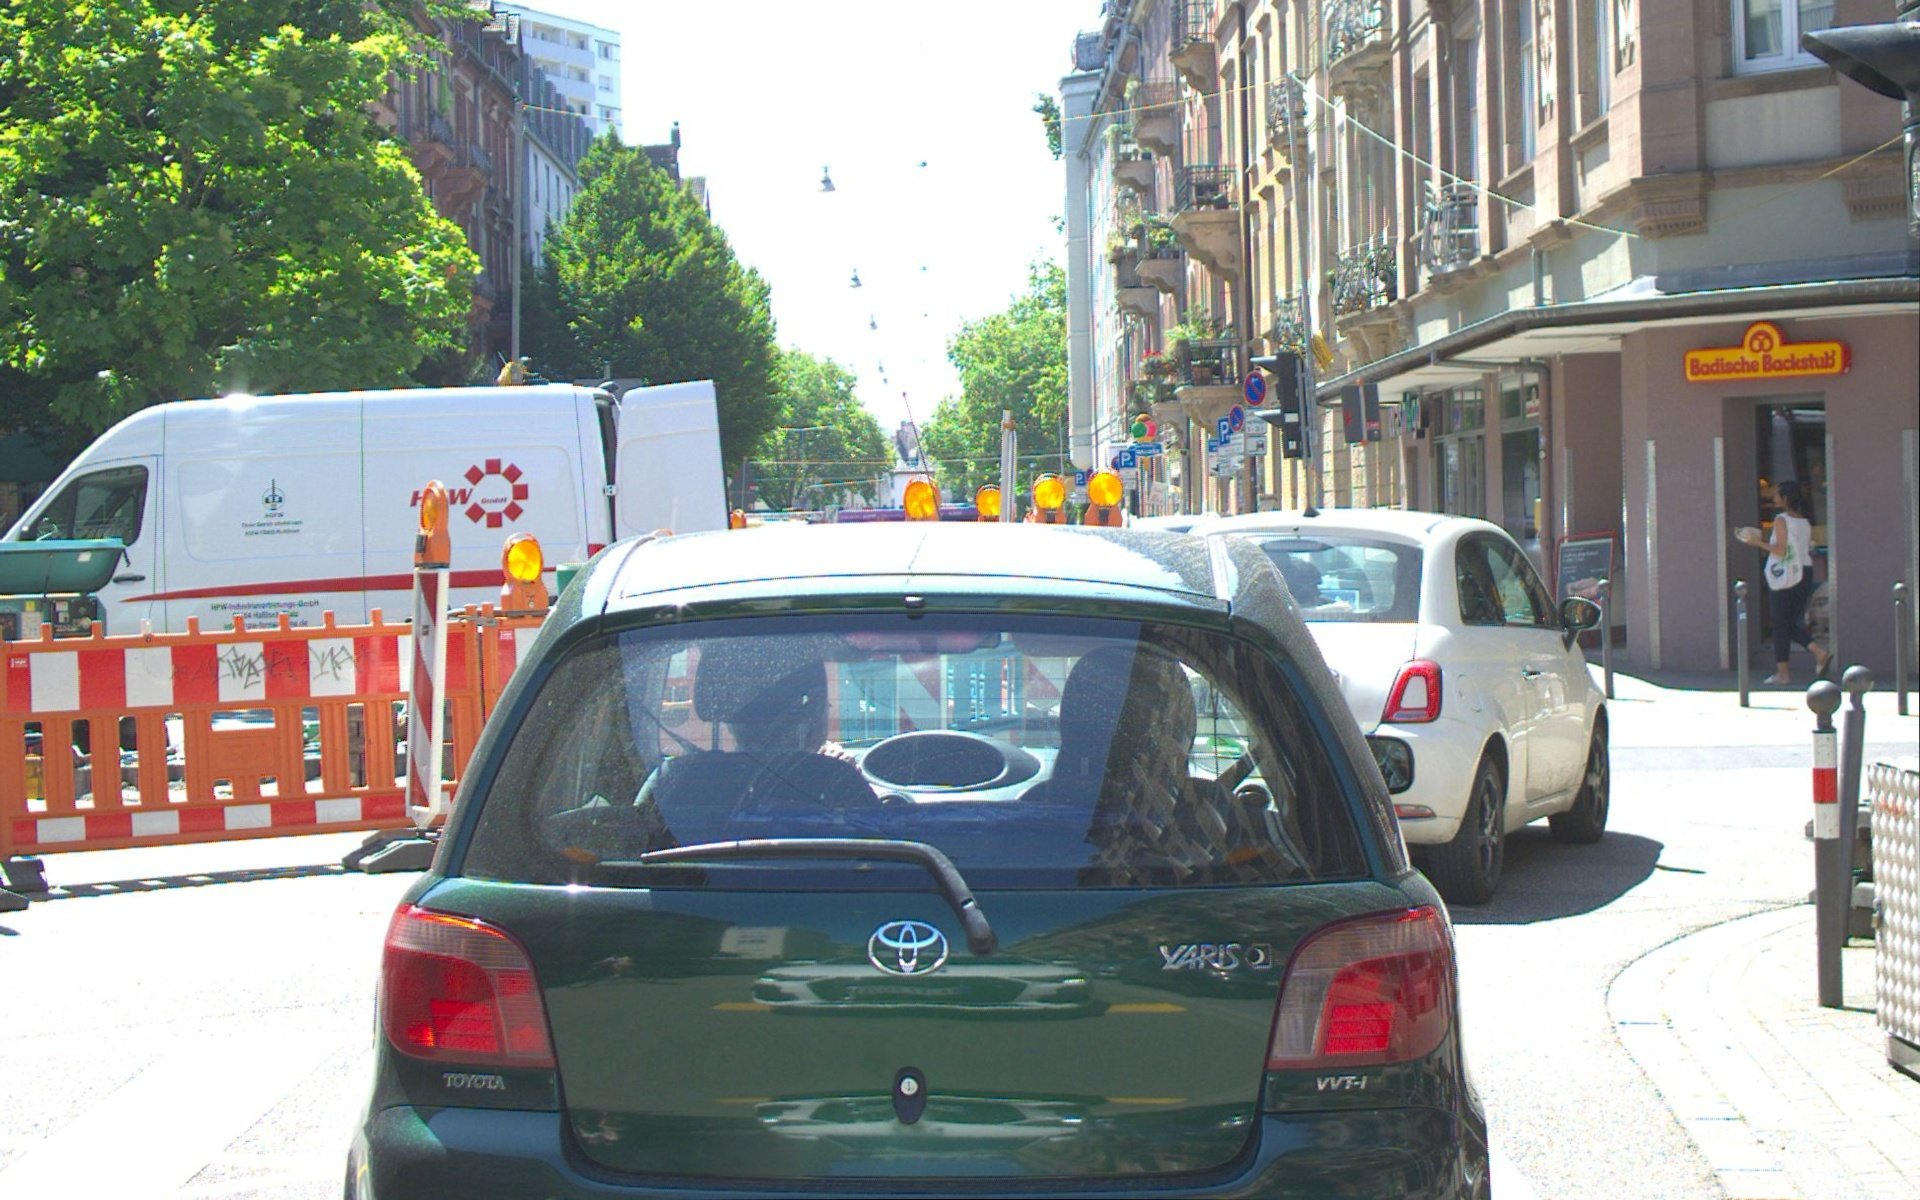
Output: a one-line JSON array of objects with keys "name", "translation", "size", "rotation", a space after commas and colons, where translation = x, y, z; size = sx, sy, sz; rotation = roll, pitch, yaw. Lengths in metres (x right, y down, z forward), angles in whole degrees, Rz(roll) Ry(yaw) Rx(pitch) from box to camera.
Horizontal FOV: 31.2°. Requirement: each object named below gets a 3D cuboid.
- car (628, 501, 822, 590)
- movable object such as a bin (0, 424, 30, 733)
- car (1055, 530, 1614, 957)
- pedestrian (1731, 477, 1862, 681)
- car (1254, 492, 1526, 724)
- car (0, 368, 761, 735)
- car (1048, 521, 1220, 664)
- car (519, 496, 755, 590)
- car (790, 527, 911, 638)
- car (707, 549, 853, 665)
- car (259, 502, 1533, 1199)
[{"name": "car", "translation": [-6.079, -1.417, 88.949], "size": [4.557, 2.180, 2.000], "rotation": [-2, 1, -27]}, {"name": "movable object such as a bin", "translation": [-10.514, -0.194, 29.545], "size": [4.542, 2.650, 1.955], "rotation": [0, 1, -2]}, {"name": "car", "translation": [1.667, 0.504, 14.343], "size": [1.524, 1.516, 3.260], "rotation": [-1, 2, 21]}, {"name": "pedestrian", "translation": [6.762, -0.173, 27.788], "size": [0.803, 1.618, 0.642], "rotation": [-1, 1, 37]}, {"name": "car", "translation": [3.163, 0.016, 25.778], "size": [1.522, 1.587, 3.264], "rotation": [-1, 1, -1]}, {"name": "car", "translation": [-4.967, -0.390, 27.131], "size": [6.622, 2.742, 2.380], "rotation": [0, 1, 1]}, {"name": "car", "translation": [1.949, -0.119, 37.637], "size": [1.627, 1.427, 3.660], "rotation": [-2, 1, 6]}, {"name": "car", "translation": [-7.192, -1.277, 76.569], "size": [4.773, 1.987, 2.054], "rotation": [-2, 1, -29]}, {"name": "car", "translation": [-1.766, -0.318, 56.651], "size": [1.754, 1.639, 4.378], "rotation": [-4, 1, 0]}, {"name": "car", "translation": [-2.417, 0.065, 46.984], "size": [1.754, 1.439, 4.000], "rotation": [-2, 1, 0]}, {"name": "car", "translation": [-0.003, 0.607, 6.000], "size": [1.614, 1.480, 3.241], "rotation": [0, 3, 3]}]
